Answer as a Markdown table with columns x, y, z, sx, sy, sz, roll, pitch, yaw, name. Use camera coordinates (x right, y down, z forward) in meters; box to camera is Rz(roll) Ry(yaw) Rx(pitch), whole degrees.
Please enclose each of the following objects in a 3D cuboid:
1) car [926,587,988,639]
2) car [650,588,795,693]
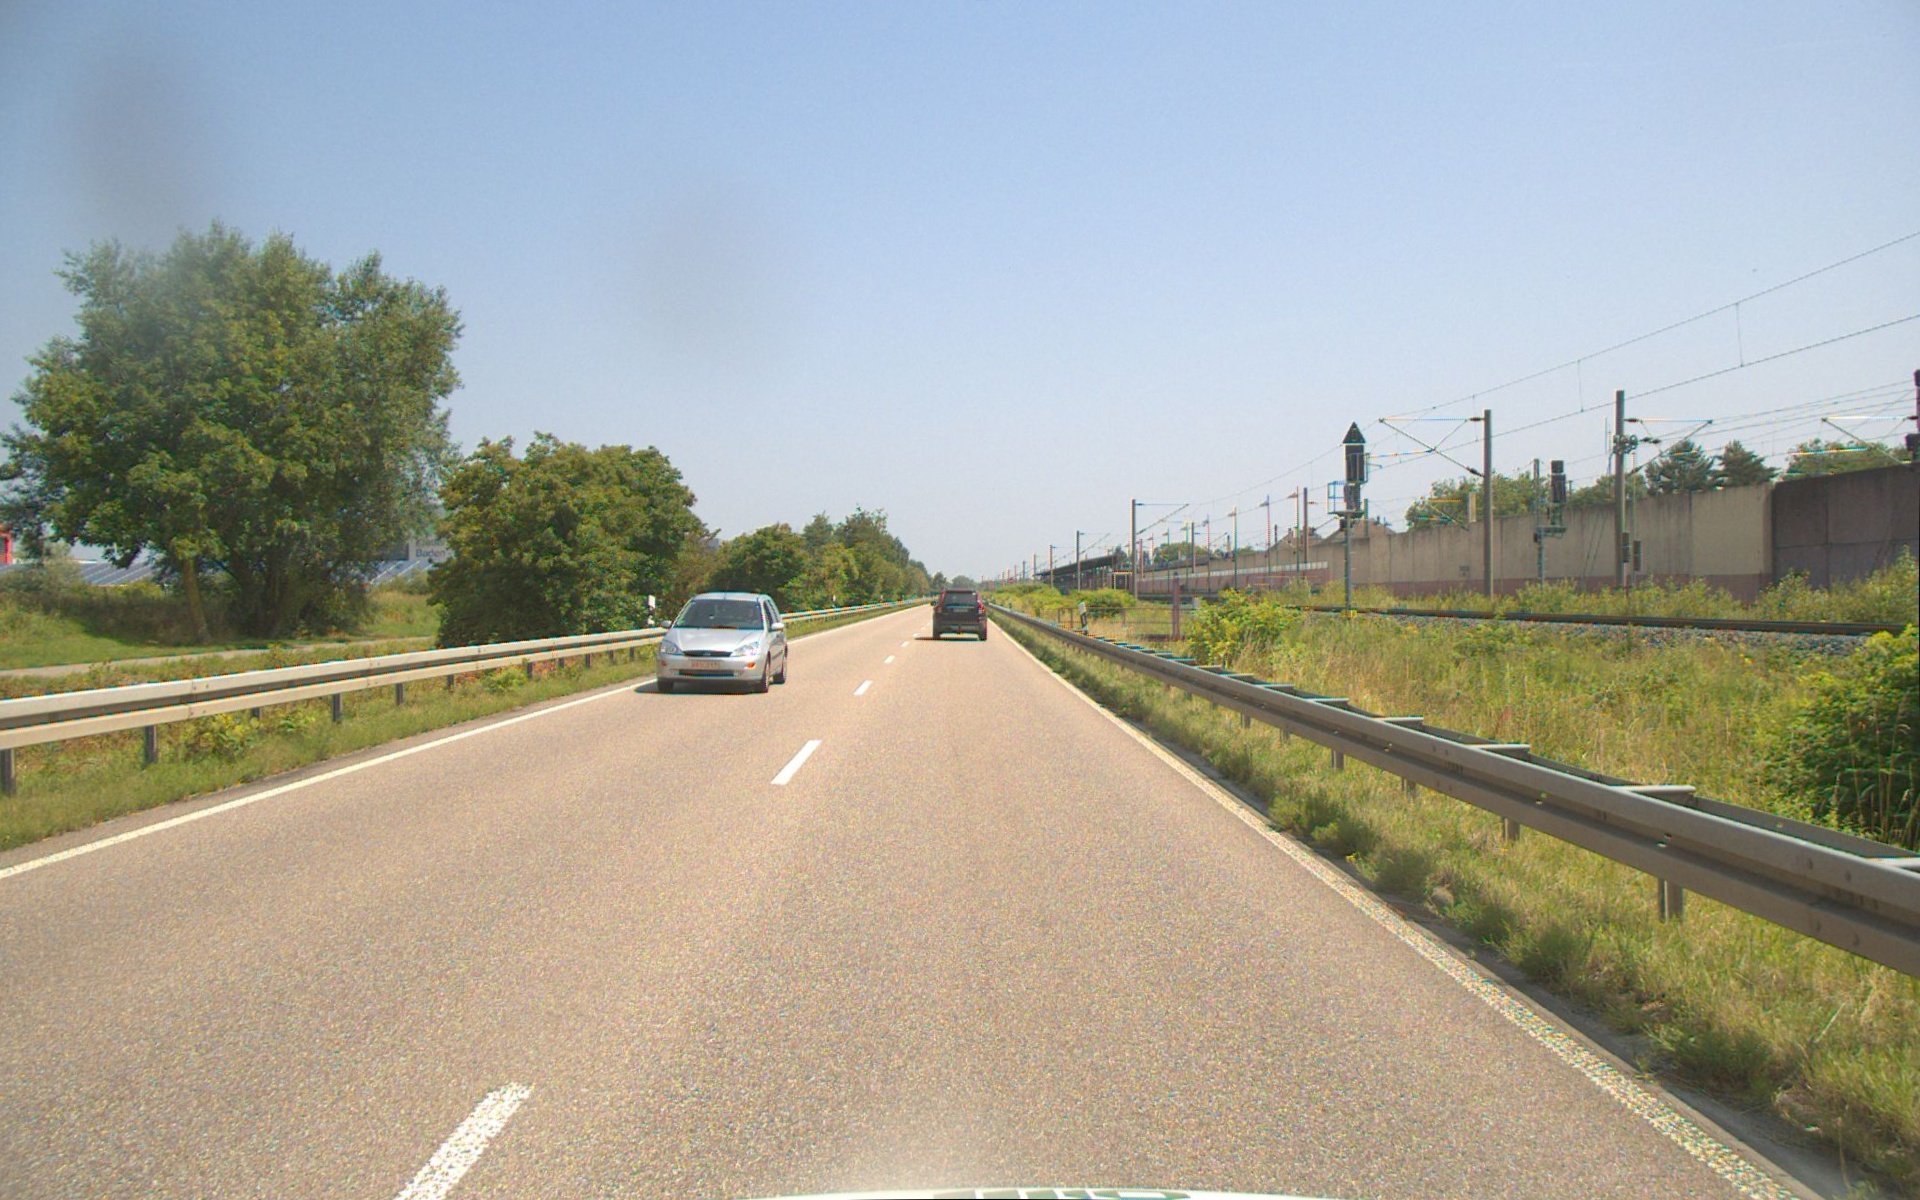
| x | y | z | sx | sy | sz | roll | pitch | yaw | name |
| --- | --- | --- | --- | --- | --- | --- | --- | --- | --- |
| -0.140 | 0.420 | 57.004 | 1.953 | 1.730 | 3.998 | 0 | 0 | -2 | car |
| -3.709 | 0.588 | 26.513 | 1.663 | 1.500 | 4.685 | 1 | 0 | -1 | car |
